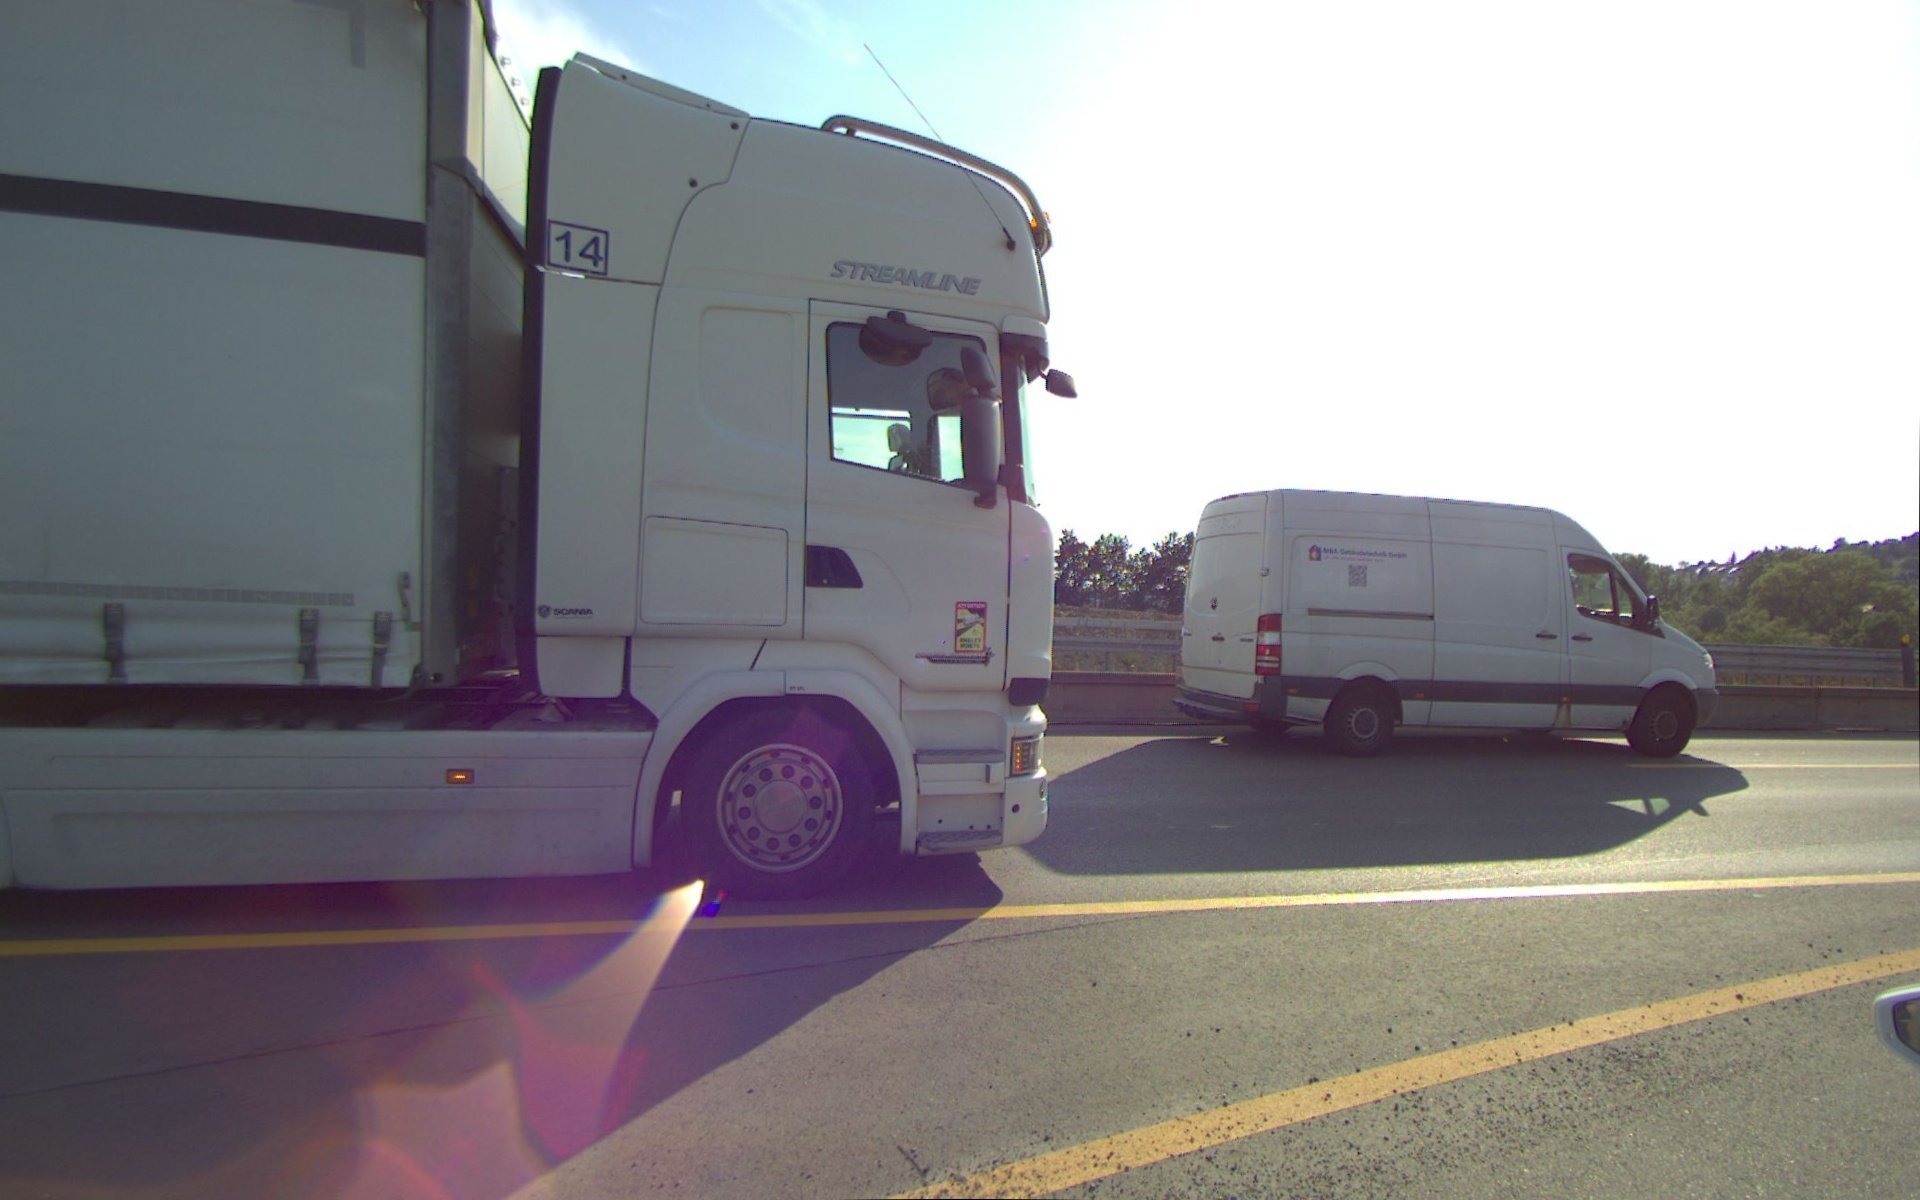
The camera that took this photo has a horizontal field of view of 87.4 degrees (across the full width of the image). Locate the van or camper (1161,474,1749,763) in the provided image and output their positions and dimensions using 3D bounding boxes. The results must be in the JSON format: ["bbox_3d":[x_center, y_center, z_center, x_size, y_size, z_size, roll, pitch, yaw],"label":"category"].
[{"bbox_3d":[5.345,0.287,11.007,5.804,2.654,1.994,3,0,-14],"label":"van or camper"}]

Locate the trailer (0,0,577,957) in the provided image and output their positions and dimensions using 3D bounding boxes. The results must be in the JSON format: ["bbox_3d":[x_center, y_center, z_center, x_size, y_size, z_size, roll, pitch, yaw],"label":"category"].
[{"bbox_3d":[-8.864,-0.834,3.895,13.397,3.929,2.482,3,-1,-13],"label":"trailer"}]

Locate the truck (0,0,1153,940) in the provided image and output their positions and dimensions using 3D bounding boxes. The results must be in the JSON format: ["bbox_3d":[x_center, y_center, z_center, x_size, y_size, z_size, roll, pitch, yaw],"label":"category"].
[{"bbox_3d":[-2.284,-0.592,5.400,5.908,3.929,2.482,3,-1,-13],"label":"truck"}]
